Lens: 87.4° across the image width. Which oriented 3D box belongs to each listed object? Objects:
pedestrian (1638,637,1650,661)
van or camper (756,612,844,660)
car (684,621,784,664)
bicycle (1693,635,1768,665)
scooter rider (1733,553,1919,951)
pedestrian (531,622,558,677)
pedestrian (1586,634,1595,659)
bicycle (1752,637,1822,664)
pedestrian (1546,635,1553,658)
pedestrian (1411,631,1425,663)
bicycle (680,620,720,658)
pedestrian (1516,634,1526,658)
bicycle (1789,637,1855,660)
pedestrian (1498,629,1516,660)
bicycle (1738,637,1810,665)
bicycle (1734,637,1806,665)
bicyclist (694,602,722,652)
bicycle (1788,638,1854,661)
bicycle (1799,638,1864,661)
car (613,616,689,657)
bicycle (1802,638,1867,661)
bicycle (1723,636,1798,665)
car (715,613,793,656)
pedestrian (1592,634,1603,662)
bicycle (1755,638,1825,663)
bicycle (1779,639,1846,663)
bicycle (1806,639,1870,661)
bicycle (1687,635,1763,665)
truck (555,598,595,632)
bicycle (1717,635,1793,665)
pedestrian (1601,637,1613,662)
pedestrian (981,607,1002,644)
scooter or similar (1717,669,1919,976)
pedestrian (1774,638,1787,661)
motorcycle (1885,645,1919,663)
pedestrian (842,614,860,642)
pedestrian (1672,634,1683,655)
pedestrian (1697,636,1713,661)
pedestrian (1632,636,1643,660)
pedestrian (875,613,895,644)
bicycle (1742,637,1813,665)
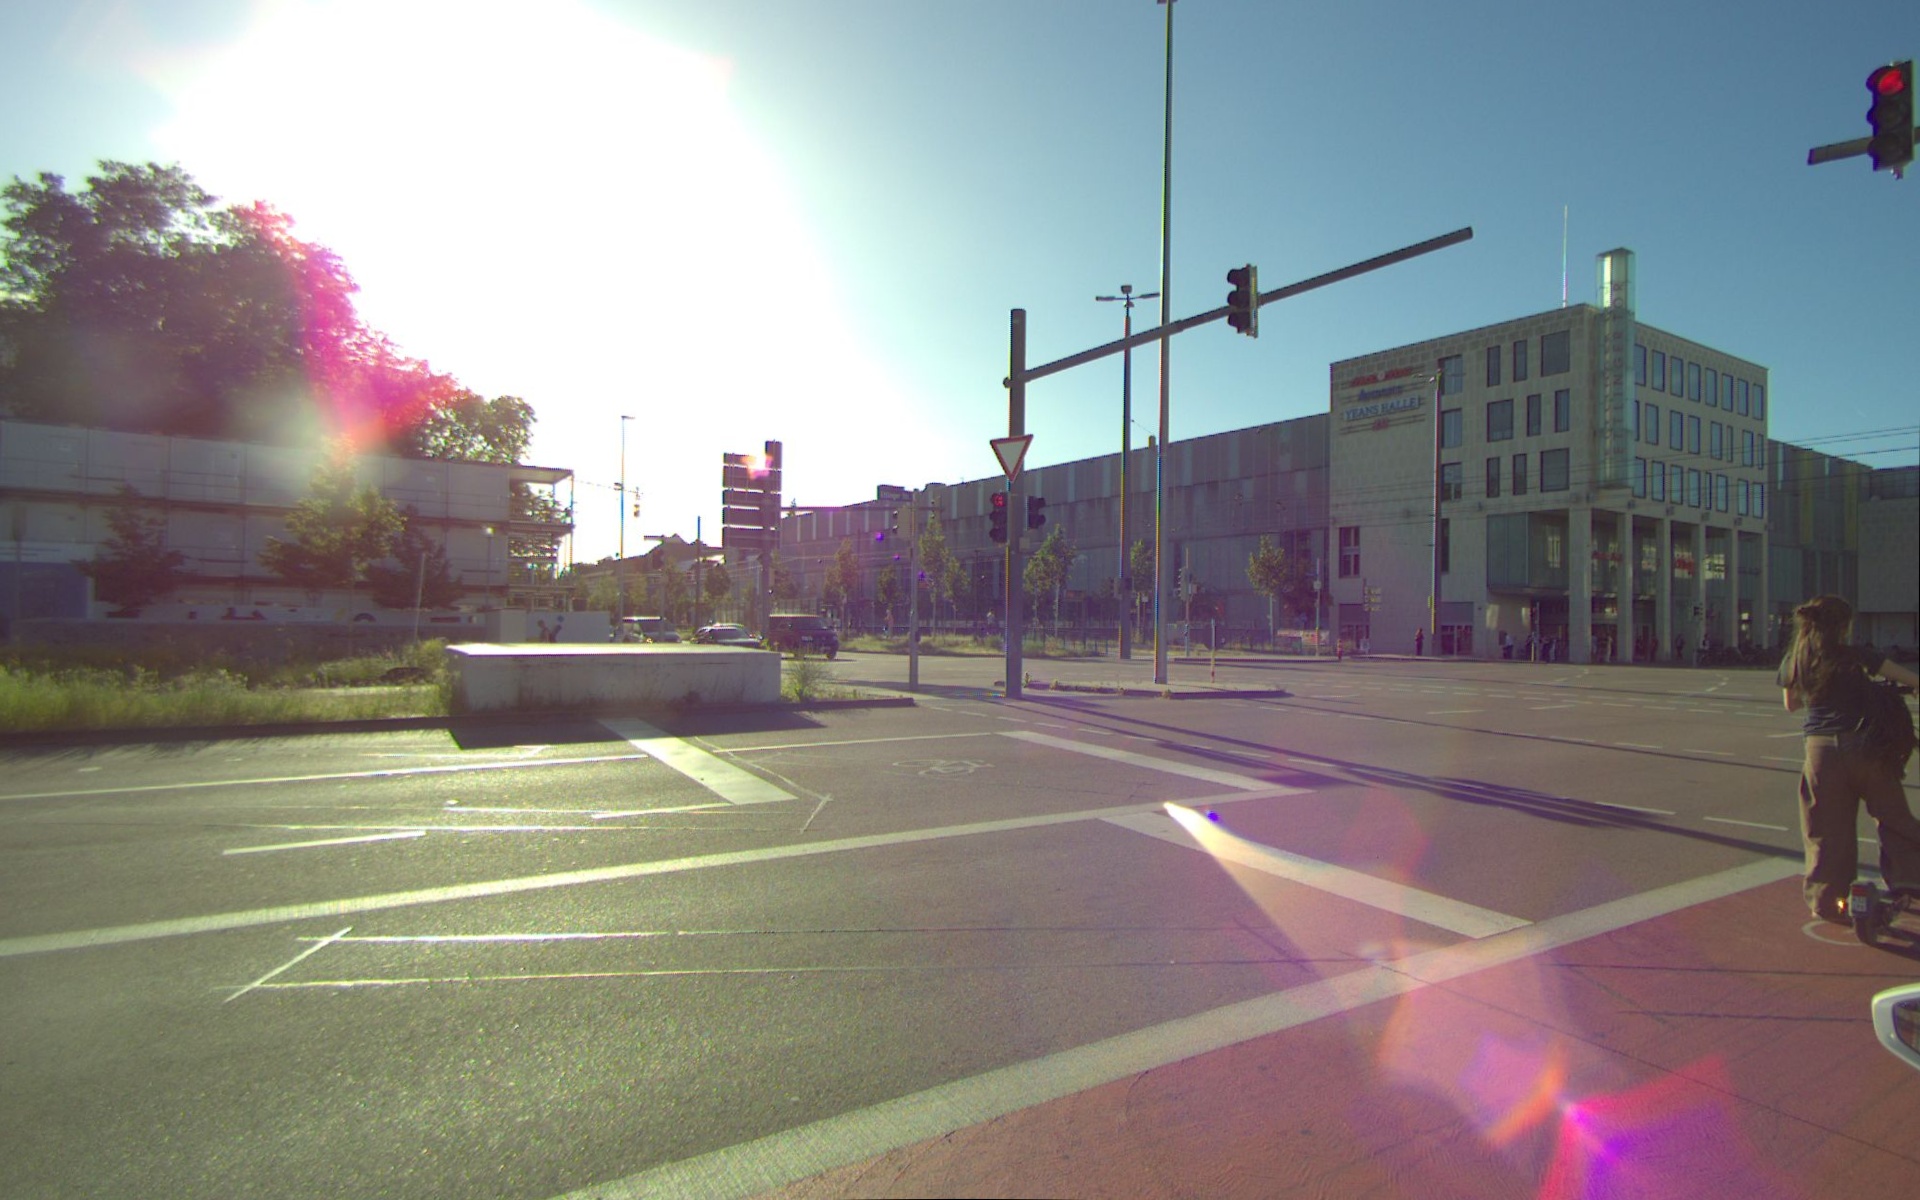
[{"bbox_3d":[45.012,3.220,66.074,0.508,1.530,0.479,1,-1,-34],"label":"pedestrian"},{"bbox_3d":[-7.320,1.592,45.629,1.981,2.040,4.821,1,-2,-36],"label":"van or camper"},{"bbox_3d":[-9.397,1.703,41.510,2.313,1.671,4.821,1,-2,-37],"label":"car"},{"bbox_3d":[46.608,3.012,60.824,1.107,1.719,3.465,1,-2,-38],"label":"bicycle"},{"bbox_3d":[4.507,0.696,5.055,0.801,1.798,0.725,1,-1,-30],"label":"scooter rider"},{"bbox_3d":[-12.809,1.512,30.944,0.619,1.674,0.935,1,-1,-30],"label":"pedestrian"},{"bbox_3d":[41.297,3.052,65.813,0.363,1.606,0.384,1,-1,-34],"label":"pedestrian"},{"bbox_3d":[54.504,3.322,66.255,0.979,1.719,3.462,2,-2,-40],"label":"bicycle"},{"bbox_3d":[38.583,3.049,65.735,0.381,1.445,0.501,0,-1,35],"label":"pedestrian"},{"bbox_3d":[24.354,2.488,53.429,0.543,1.716,0.521,1,-1,-40],"label":"pedestrian"},{"bbox_3d":[-14.674,2.201,56.649,1.007,2.040,3.472,4,-3,-33],"label":"bicycle"},{"bbox_3d":[37.369,3.094,66.906,0.452,1.586,0.420,1,-1,-30],"label":"pedestrian"},{"bbox_3d":[61.187,3.453,71.305,0.979,1.547,3.462,2,-2,-40],"label":"bicycle"},{"bbox_3d":[32.991,2.687,60.587,0.729,1.822,0.752,1,-1,-34],"label":"pedestrian"},{"bbox_3d":[51.945,3.229,64.160,0.979,1.719,3.462,2,-2,-40],"label":"bicycle"},{"bbox_3d":[51.119,3.192,63.426,0.979,1.719,3.462,2,-2,-40],"label":"bicycle"},{"bbox_3d":[-13.998,1.498,55.699,1.007,2.677,1.610,1,-1,-34],"label":"bicyclist"},{"bbox_3d":[60.381,3.436,70.473,0.979,1.547,3.462,2,-2,-40],"label":"bicycle"},{"bbox_3d":[62.665,3.526,72.256,0.979,1.547,3.462,2,-2,-40],"label":"bicycle"},{"bbox_3d":[-14.853,1.703,48.175,1.981,1.849,4.821,1,-2,-36],"label":"car"},{"bbox_3d":[63.705,3.592,73.206,0.979,1.547,3.462,2,-2,-40],"label":"bicycle"},{"bbox_3d":[49.143,3.081,61.741,1.107,1.719,3.465,1,-2,-38],"label":"bicycle"},{"bbox_3d":[-10.390,1.695,50.416,1.981,2.040,4.821,1,-2,-36],"label":"car"},{"bbox_3d":[37.634,2.818,59.273,0.533,1.664,0.548,0,-1,37],"label":"pedestrian"},{"bbox_3d":[55.255,3.331,66.923,0.979,1.547,3.462,2,-2,-40],"label":"bicycle"},{"bbox_3d":[58.873,3.481,69.392,0.979,1.547,3.462,2,-2,-40],"label":"bicycle"},{"bbox_3d":[64.505,3.648,73.855,0.979,1.547,3.462,2,-2,-40],"label":"bicycle"},{"bbox_3d":[45.699,2.978,60.034,1.107,1.719,3.465,1,-2,-38],"label":"bicycle"},{"bbox_3d":[-33.480,1.325,87.246,1.979,2.875,6.293,1,-2,-33],"label":"truck"},{"bbox_3d":[48.215,3.014,60.940,1.107,1.719,3.465,1,-2,-38],"label":"bicycle"},{"bbox_3d":[41.697,3.198,64.723,0.592,1.606,0.479,1,-1,-34],"label":"pedestrian"},{"bbox_3d":[1.585,1.287,50.593,0.788,1.855,0.706,1,-1,-37],"label":"pedestrian"},{"bbox_3d":[4.526,0.980,4.928,1.645,1.218,0.725,1,-1,-30],"label":"scooter or similar"},{"bbox_3d":[59.587,3.586,72.949,0.689,1.664,0.648,1,-1,-38],"label":"pedestrian"},{"bbox_3d":[70.745,4.020,75.088,0.713,1.335,2.260,1,-2,-34],"label":"motorcycle"},{"bbox_3d":[-7.131,1.825,65.799,0.889,1.855,0.787,1,-1,-35],"label":"pedestrian"},{"bbox_3d":[51.204,3.176,71.668,0.630,1.454,0.474,0,-1,38],"label":"pedestrian"},{"bbox_3d":[49.463,3.230,66.707,0.773,1.664,0.693,0,-1,32],"label":"pedestrian"},{"bbox_3d":[44.425,3.143,65.870,0.508,1.606,0.479,1,-1,-34],"label":"pedestrian"},{"bbox_3d":[-4.450,1.686,59.711,0.889,1.855,0.787,1,-1,-35],"label":"pedestrian"},{"bbox_3d":[52.859,3.261,64.965,0.979,1.719,3.462,2,-2,-40],"label":"bicycle"}]
